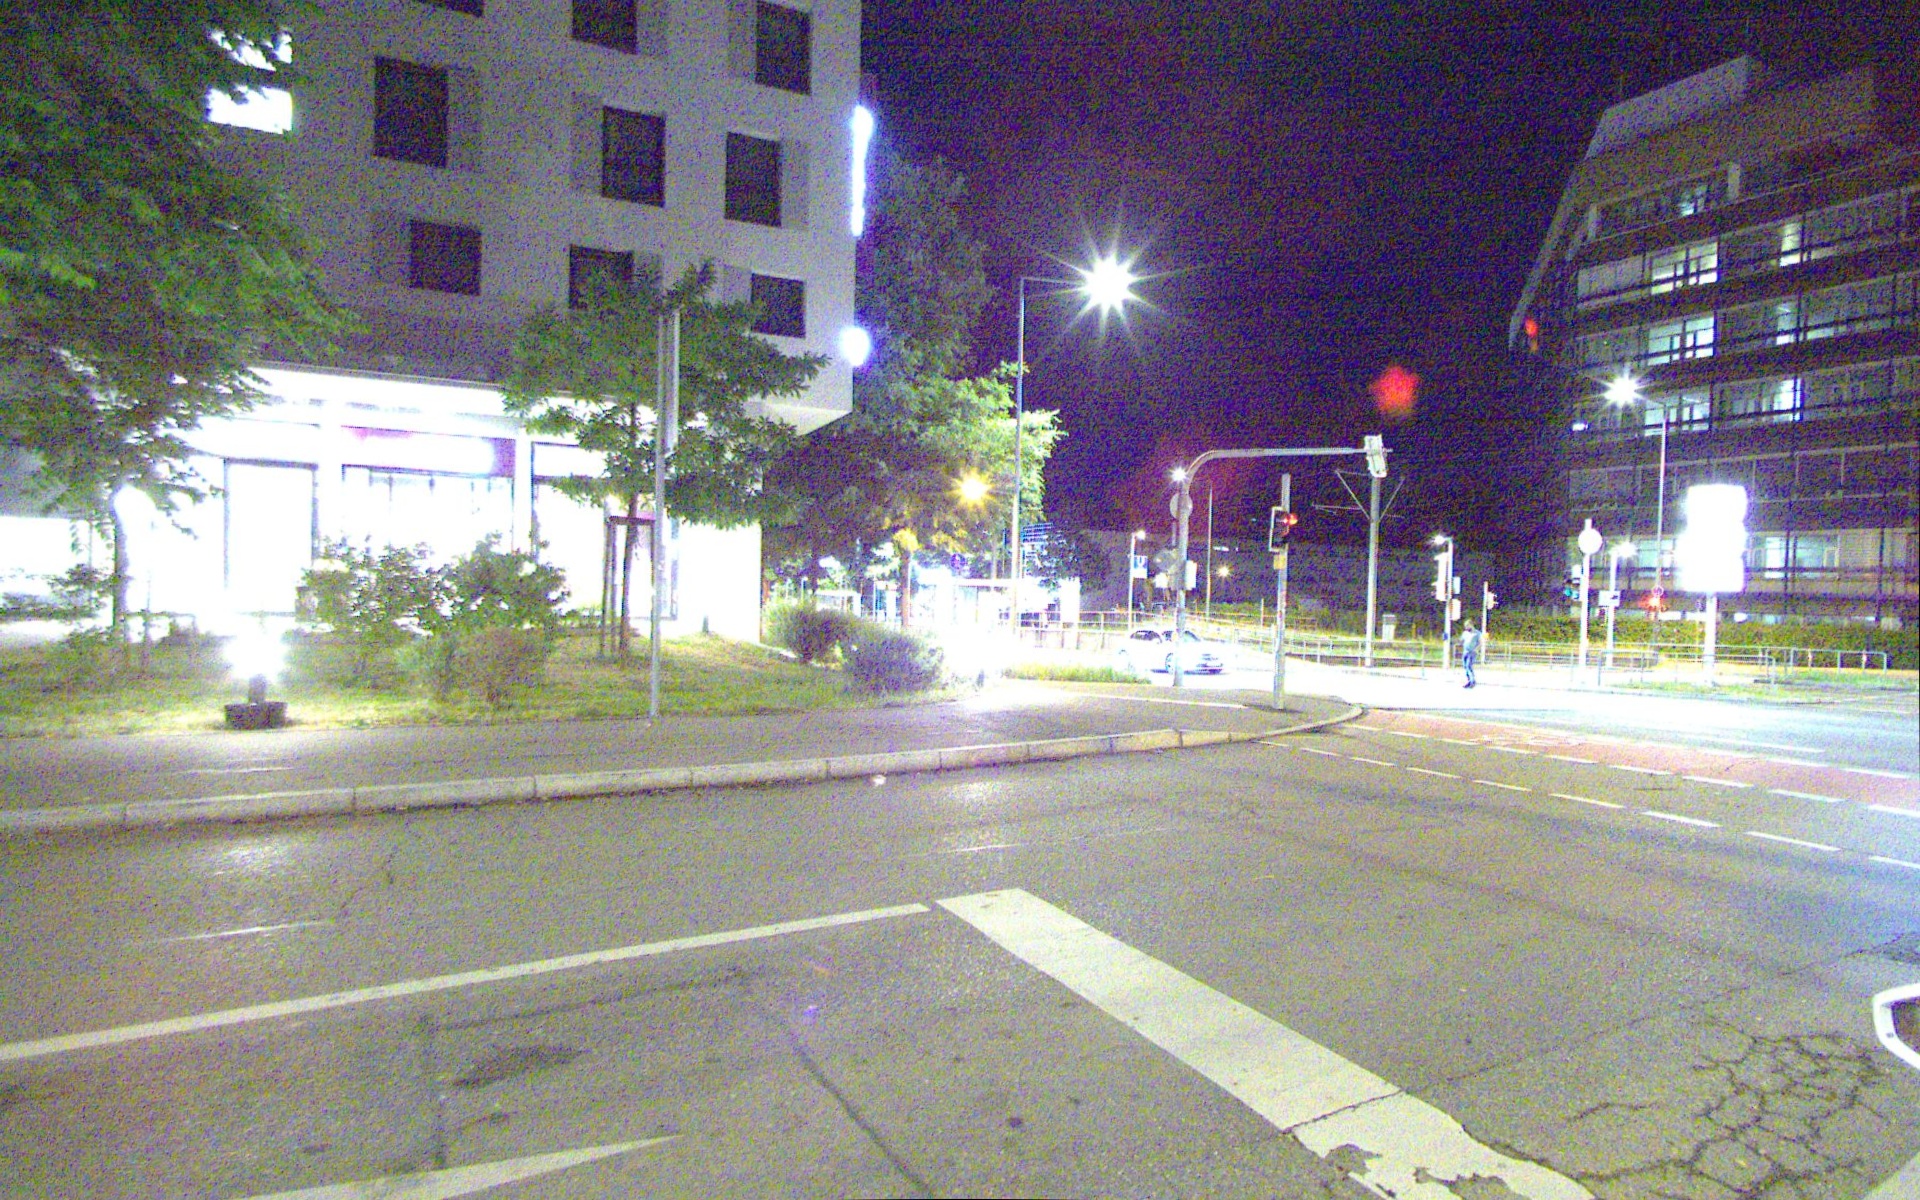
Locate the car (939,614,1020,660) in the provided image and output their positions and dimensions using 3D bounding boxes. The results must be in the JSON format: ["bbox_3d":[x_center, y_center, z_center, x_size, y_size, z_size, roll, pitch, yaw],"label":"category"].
[{"bbox_3d":[0.693,1.388,38.483,1.877,1.592,3.984,2,-1,-18],"label":"car"}]

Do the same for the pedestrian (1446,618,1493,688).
[{"bbox_3d":[12.554,1.300,24.734,0.854,1.656,0.665,2,0,-34],"label":"pedestrian"}]

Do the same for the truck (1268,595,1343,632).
[{"bbox_3d":[30.738,1.157,89.590,2.877,3.129,5.873,2,0,-28],"label":"truck"}]

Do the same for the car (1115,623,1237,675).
[{"bbox_3d":[6.844,1.501,32.280,1.793,1.522,4.177,0,-1,-23],"label":"car"}]
